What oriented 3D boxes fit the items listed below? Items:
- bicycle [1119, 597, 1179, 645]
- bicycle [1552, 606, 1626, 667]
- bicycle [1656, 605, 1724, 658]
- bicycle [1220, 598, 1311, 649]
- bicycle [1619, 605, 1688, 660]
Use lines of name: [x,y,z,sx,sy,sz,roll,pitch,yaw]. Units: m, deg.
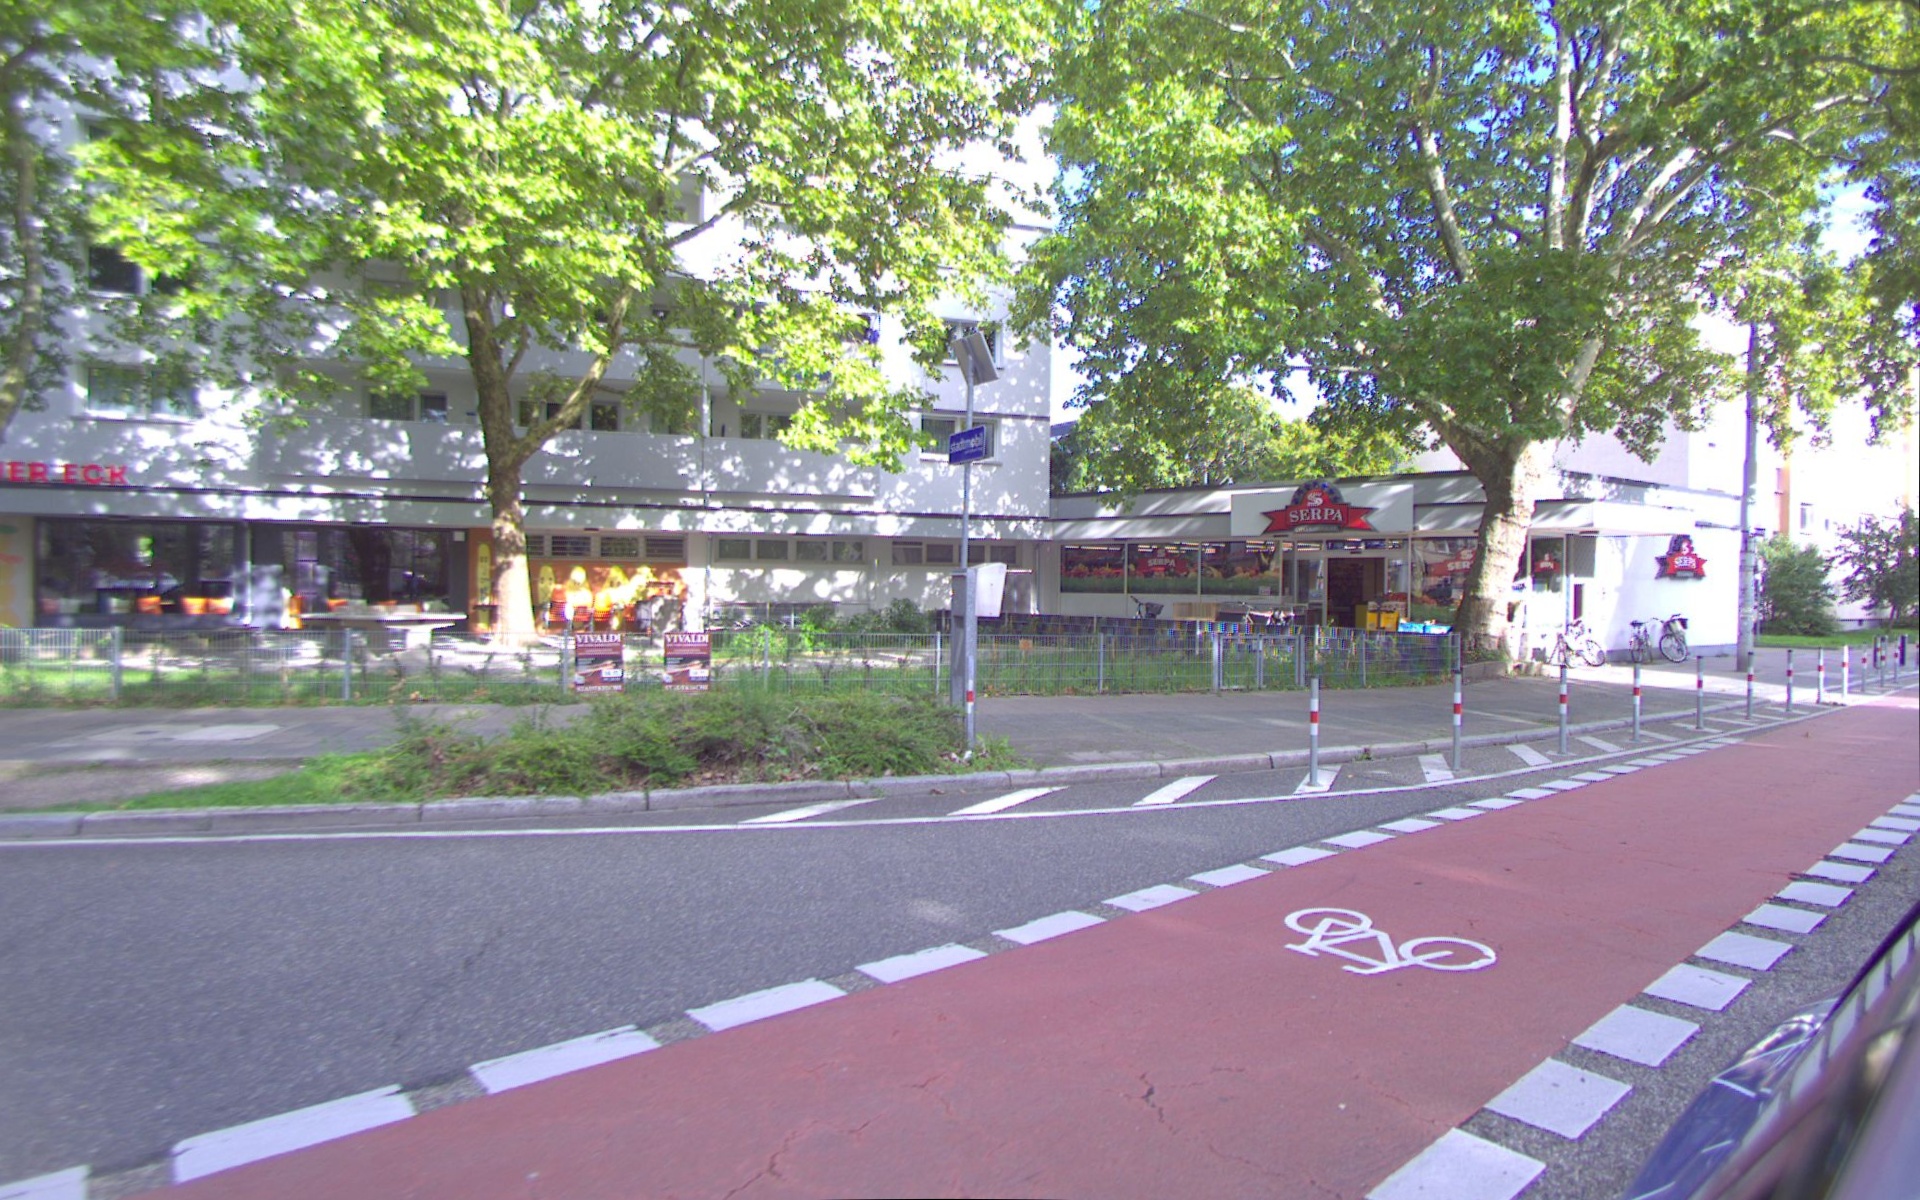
bicycle: [4.537,0.482,24.216,0.689,1.084,1.831,2,1,36]
bicycle: [13.787,0.771,22.174,1.781,1.220,0.715,-1,4,-36]
bicycle: [18.274,0.768,25.319,1.781,1.220,0.772,0,4,-35]
bicycle: [6.804,0.538,22.575,1.817,1.053,0.749,3,-5,-15]
bicycle: [16.606,0.755,24.228,1.737,1.220,0.713,0,4,-35]
